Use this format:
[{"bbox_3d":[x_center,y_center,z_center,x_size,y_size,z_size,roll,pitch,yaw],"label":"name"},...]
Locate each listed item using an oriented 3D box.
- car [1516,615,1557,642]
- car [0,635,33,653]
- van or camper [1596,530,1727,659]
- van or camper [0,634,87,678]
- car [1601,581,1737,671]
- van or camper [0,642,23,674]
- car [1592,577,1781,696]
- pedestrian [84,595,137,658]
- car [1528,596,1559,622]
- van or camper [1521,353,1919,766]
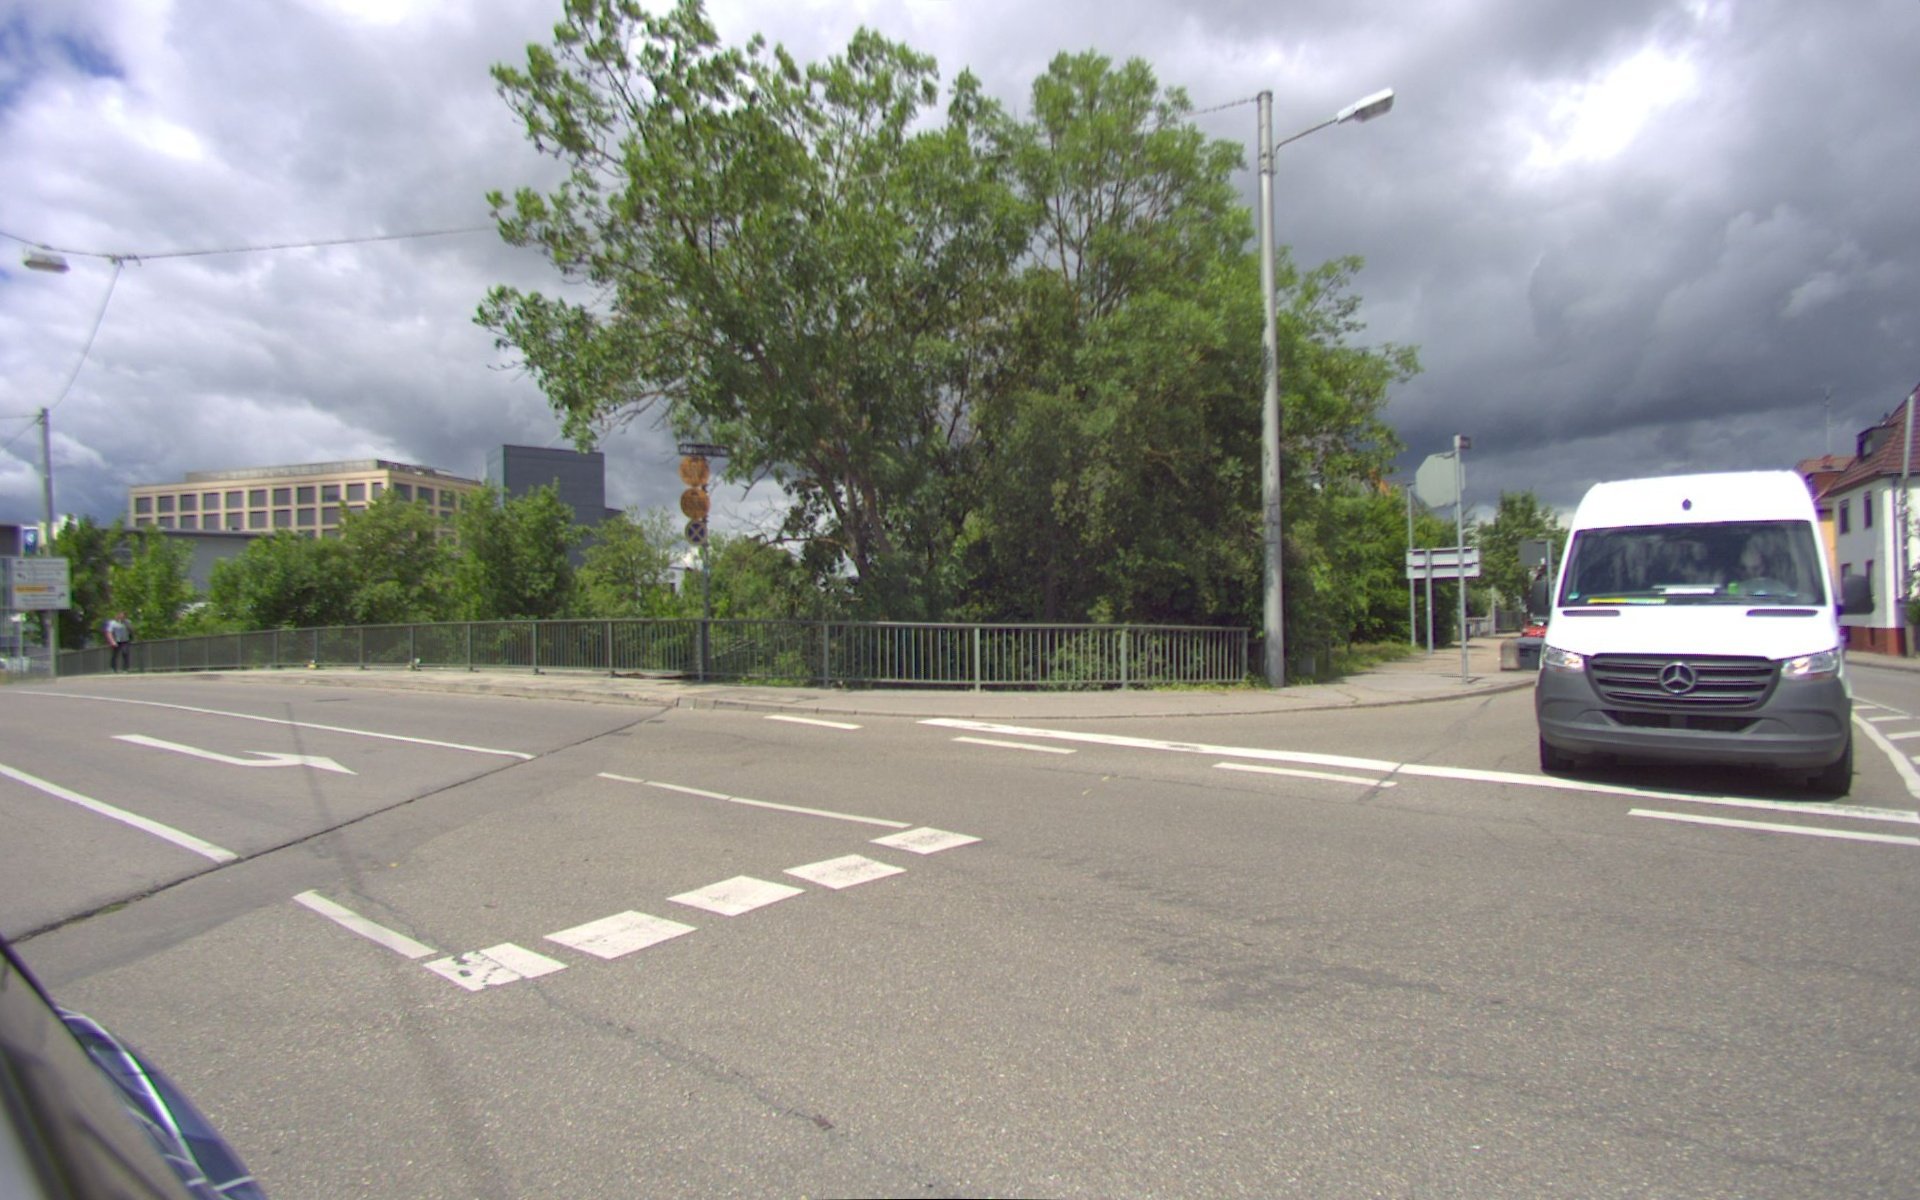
[{"bbox_3d":[34.790,1.692,61.027,1.993,1.600,4.353,0,-1,32],"label":"car"},{"bbox_3d":[-74.324,3.453,78.827,1.515,1.384,2.982,-3,-2,38],"label":"car"},{"bbox_3d":[19.102,0.078,27.961,2.263,3.018,8.240,-1,-3,30],"label":"van or camper"},{"bbox_3d":[-46.416,2.775,51.037,1.956,1.978,4.975,-2,0,-21],"label":"van or camper"},{"bbox_3d":[14.213,0.508,20.528,1.993,1.600,4.353,0,-1,32],"label":"car"},{"bbox_3d":[-54.553,3.249,55.381,1.999,1.763,4.619,-3,-2,41],"label":"van or camper"},{"bbox_3d":[10.690,0.498,14.923,1.997,1.485,4.177,-1,-1,37],"label":"car"},{"bbox_3d":[-25.740,0.796,30.671,1.035,1.851,0.987,-3,-1,37],"label":"pedestrian"},{"bbox_3d":[45.545,0.707,78.973,1.993,1.943,4.353,0,-1,32],"label":"car"},{"bbox_3d":[6.914,-0.226,9.344,2.191,2.586,5.853,1,0,37],"label":"van or camper"}]
